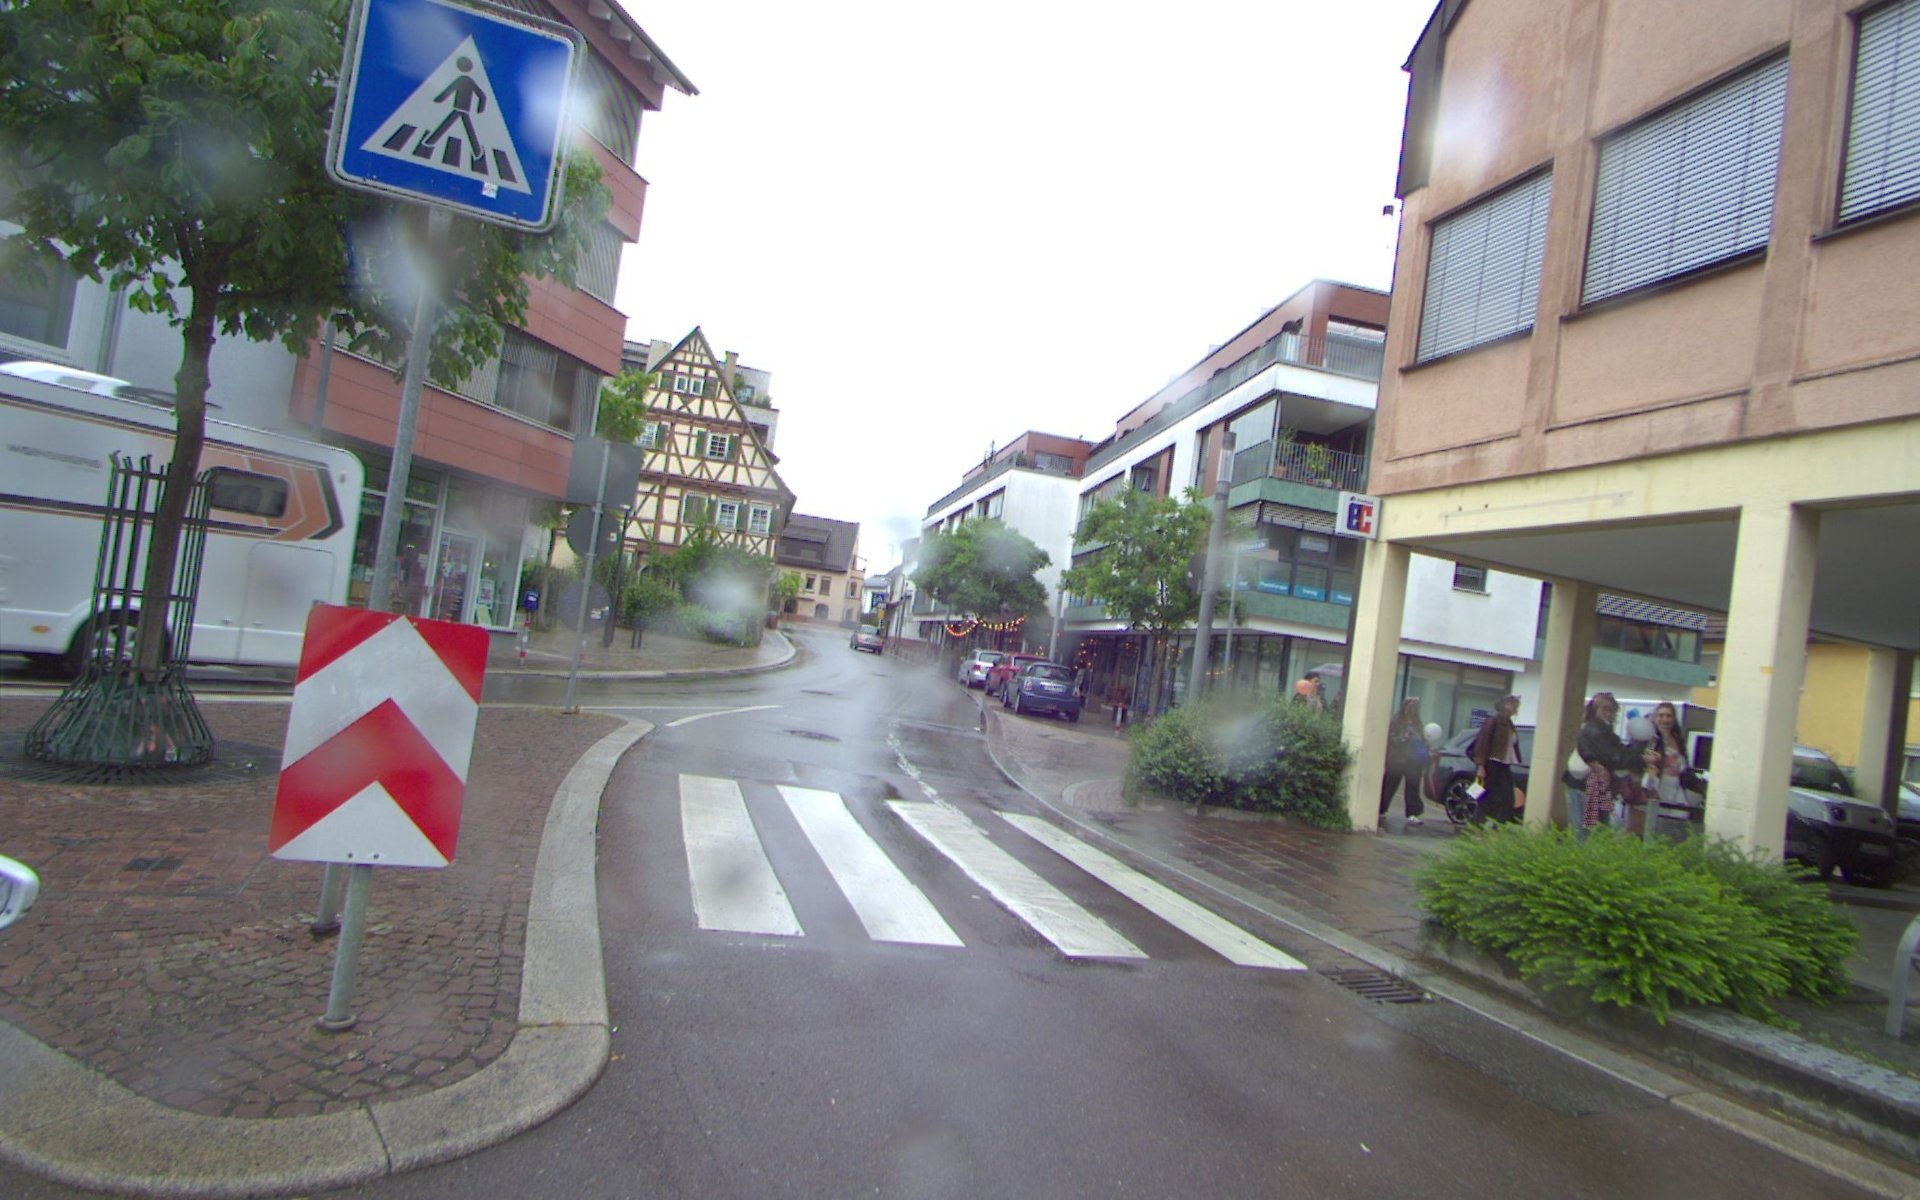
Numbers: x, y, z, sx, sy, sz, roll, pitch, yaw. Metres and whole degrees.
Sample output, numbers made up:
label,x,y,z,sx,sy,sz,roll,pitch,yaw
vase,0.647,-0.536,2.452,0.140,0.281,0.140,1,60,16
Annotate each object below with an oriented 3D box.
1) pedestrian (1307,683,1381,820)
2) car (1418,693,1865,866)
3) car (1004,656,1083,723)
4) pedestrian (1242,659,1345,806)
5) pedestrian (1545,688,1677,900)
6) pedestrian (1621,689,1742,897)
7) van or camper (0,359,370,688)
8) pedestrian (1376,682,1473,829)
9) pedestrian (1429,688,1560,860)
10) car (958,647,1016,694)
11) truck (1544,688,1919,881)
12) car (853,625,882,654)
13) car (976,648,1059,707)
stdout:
label,x,y,z,sx,sy,sz,roll,pitch,yaw
pedestrian,5.048,1.979,13.245,0.533,1.682,0.520,8,-2,-13
car,8.070,2.067,12.535,1.742,1.290,4.461,8,-3,-15
car,2.214,2.389,27.419,1.514,1.378,3.371,7,0,-4
pedestrian,4.381,1.722,13.248,0.725,1.768,0.890,8,-2,-16
pedestrian,5.778,1.693,8.980,0.807,1.680,0.697,6,-2,31
pedestrian,6.572,1.726,9.180,0.722,1.708,0.723,6,-2,37
van or camper,-9.428,-0.870,8.815,2.407,2.613,6.742,6,-4,34
pedestrian,5.882,1.953,12.776,0.626,1.708,0.741,8,-2,-15
pedestrian,5.567,1.794,10.521,0.732,1.623,0.824,6,-1,-12
car,0.971,2.629,38.109,1.592,1.430,3.999,5,-2,-6
truck,10.352,2.352,13.639,1.742,1.828,3.990,8,-3,-15
car,-5.536,2.318,60.201,1.500,1.487,3.340,8,-2,-6
car,1.780,2.459,32.583,1.602,1.518,3.994,6,-2,-11
